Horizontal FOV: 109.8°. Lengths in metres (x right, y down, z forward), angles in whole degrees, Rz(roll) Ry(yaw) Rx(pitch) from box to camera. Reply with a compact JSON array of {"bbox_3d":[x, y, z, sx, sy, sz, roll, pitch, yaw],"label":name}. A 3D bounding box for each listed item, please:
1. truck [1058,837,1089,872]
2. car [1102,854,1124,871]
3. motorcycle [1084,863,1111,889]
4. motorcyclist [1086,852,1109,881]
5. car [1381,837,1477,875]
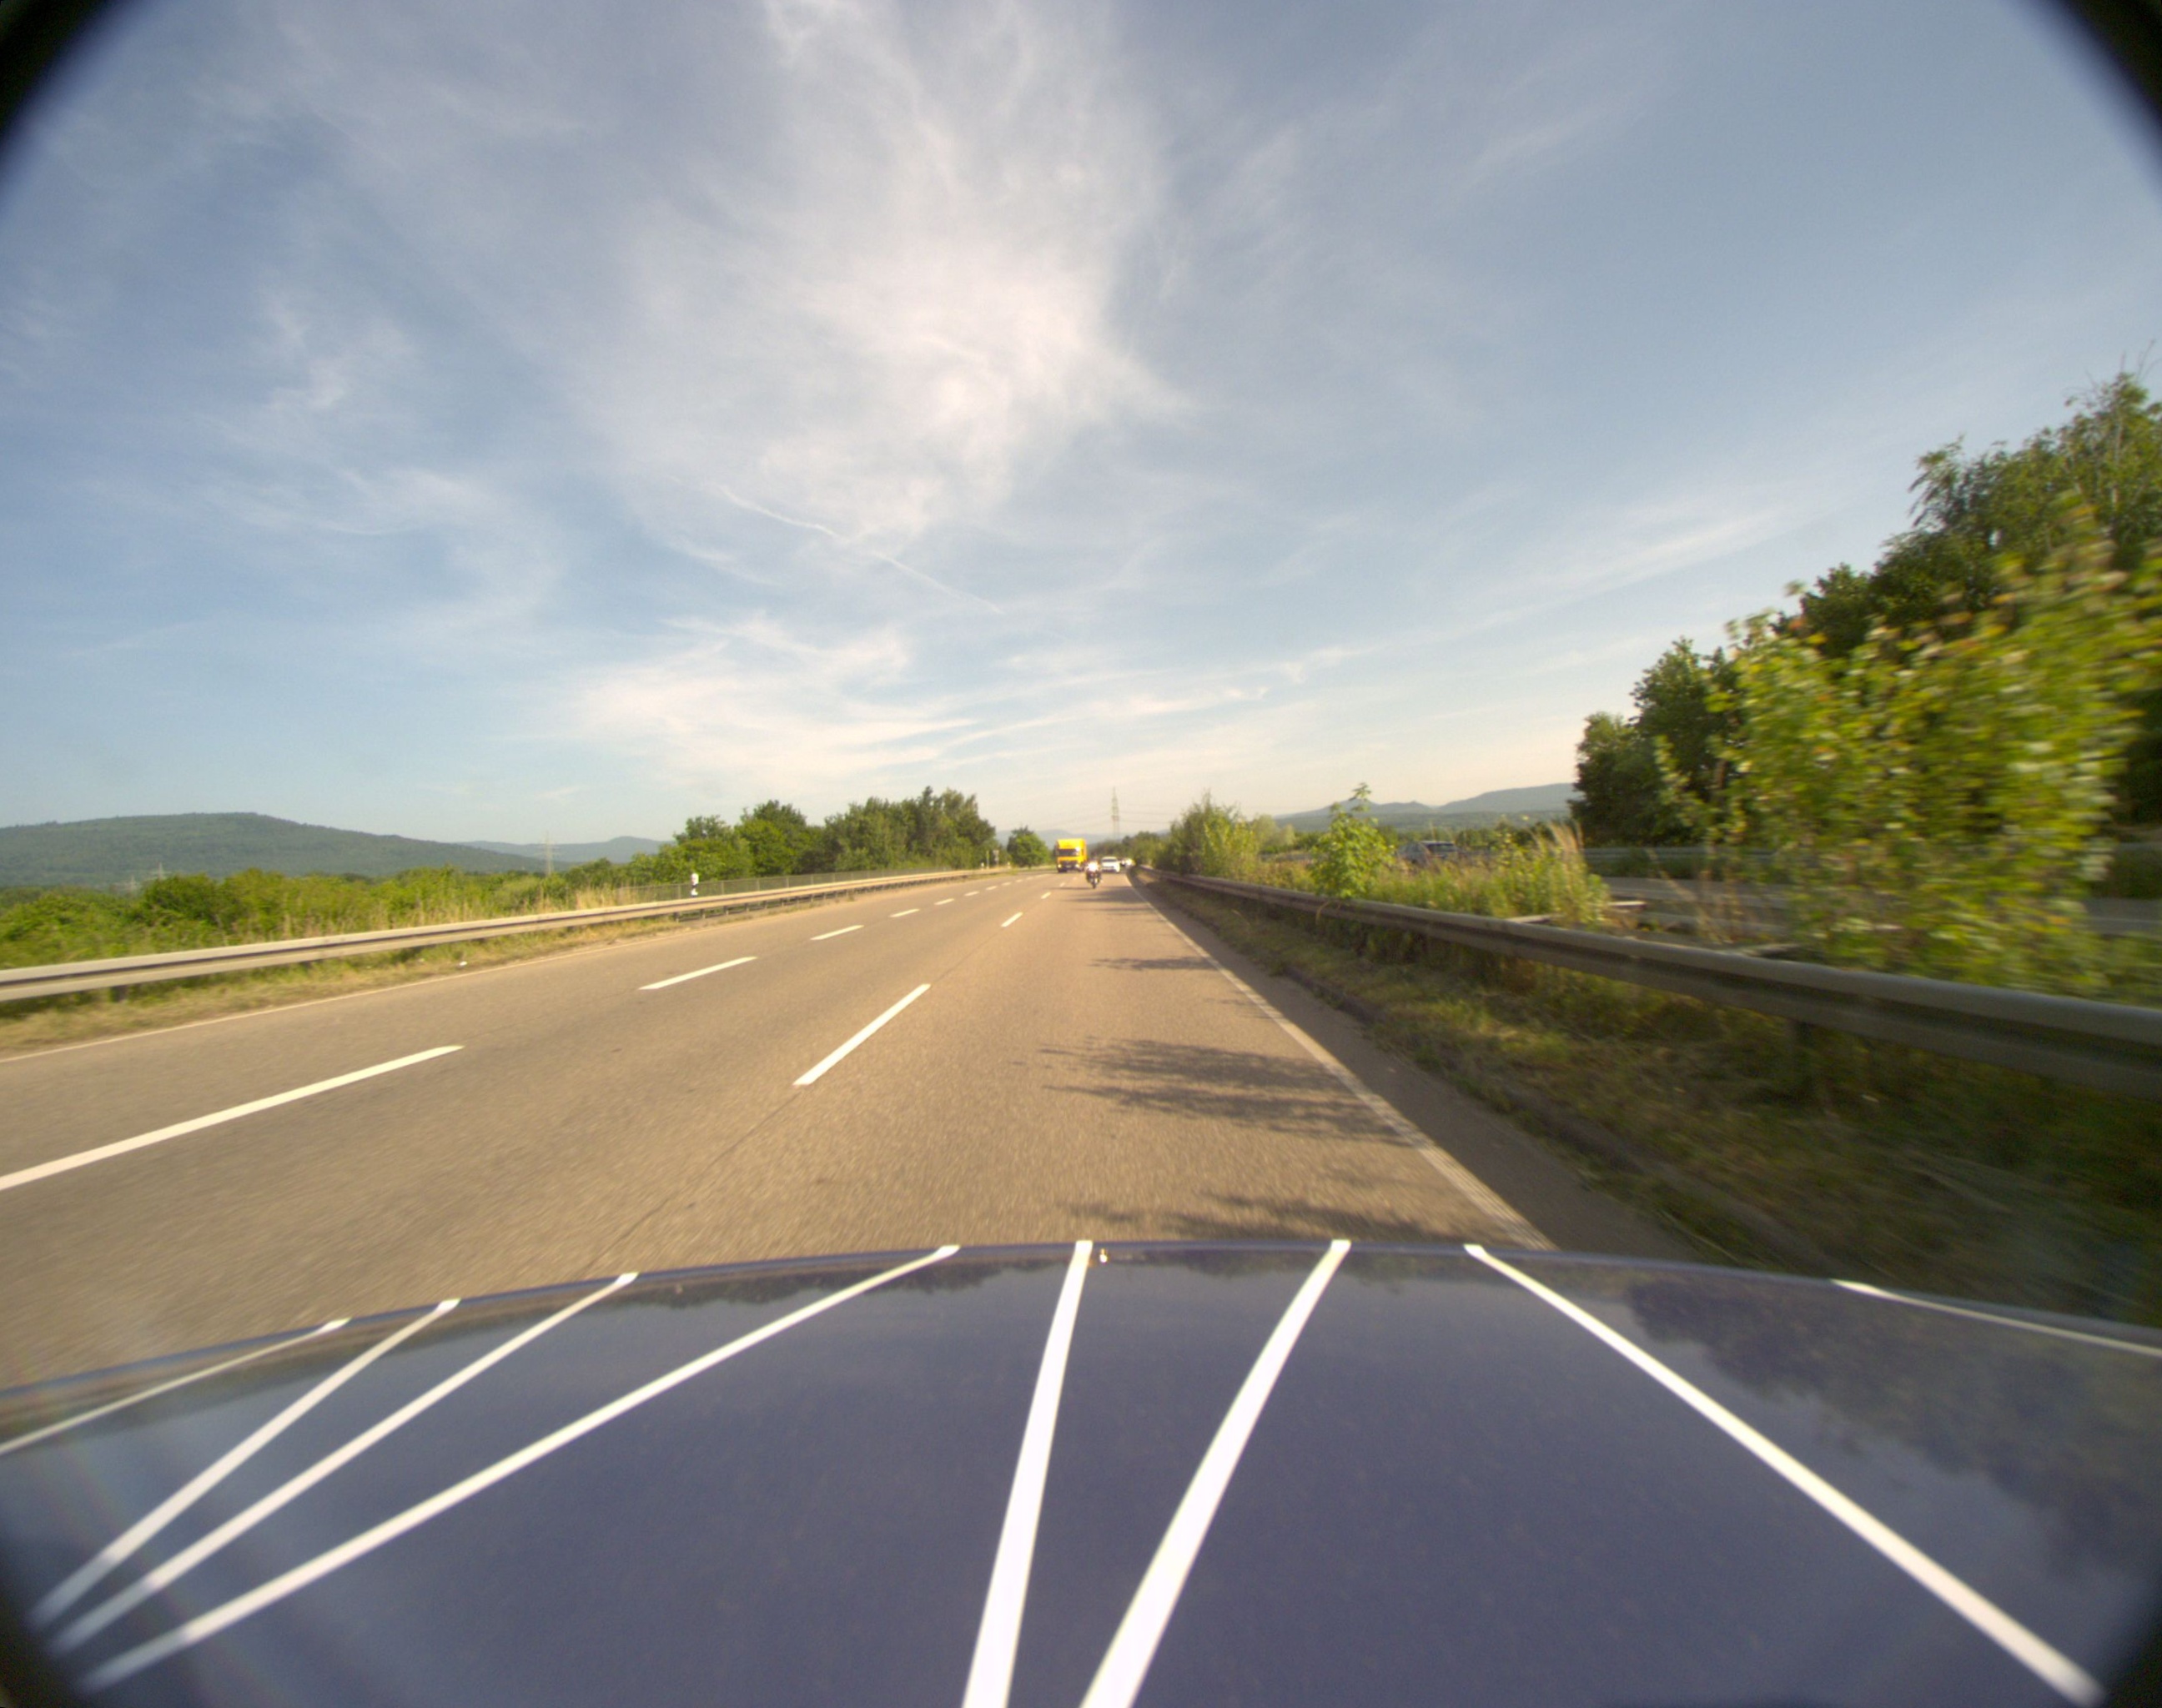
[{"bbox_3d":[-0.695,0.079,78.498,2.785,3.297,10.491,-2,-1,1],"label":"truck"},{"bbox_3d":[2.926,0.754,69.345,1.869,1.454,4.084,-2,0,3],"label":"car"},{"bbox_3d":[0.800,1.006,35.977,0.936,1.131,2.584,-1,0,8],"label":"motorcycle"},{"bbox_3d":[0.794,0.574,35.926,0.936,1.344,1.143,-1,1,8],"label":"motorcyclist"},{"bbox_3d":[14.286,0.067,31.455,1.959,1.444,4.105,-1,0,-3],"label":"car"}]
